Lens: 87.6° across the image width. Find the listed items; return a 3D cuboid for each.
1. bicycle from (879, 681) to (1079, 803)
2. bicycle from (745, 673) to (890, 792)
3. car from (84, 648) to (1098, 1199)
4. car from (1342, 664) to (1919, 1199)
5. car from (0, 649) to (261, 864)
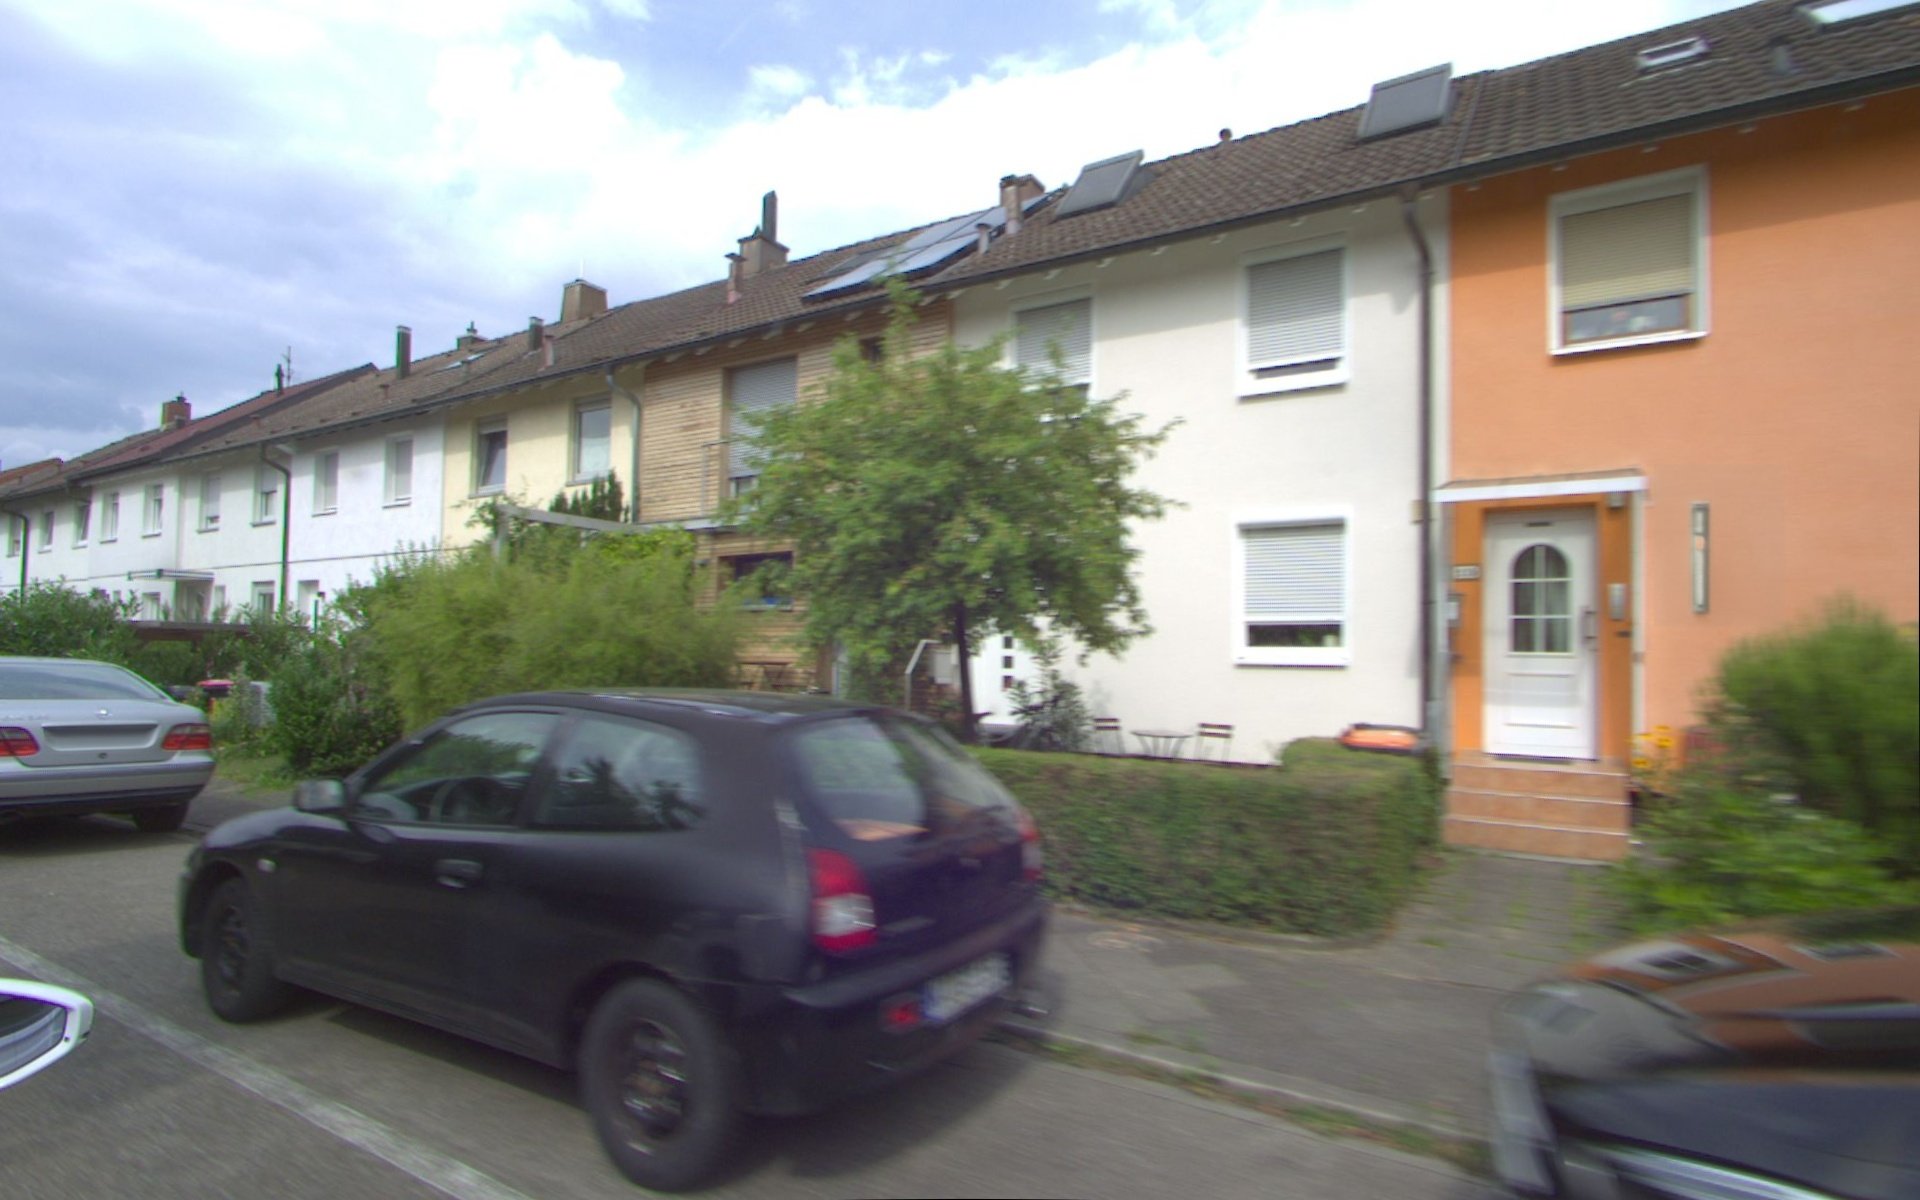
[{"bbox_3d":[0.186,1.263,9.140,1.720,0.994,0.661,0,-2,13],"label":"bicycle"},{"bbox_3d":[-1.329,1.222,9.585,0.371,1.035,1.534,0,-3,37],"label":"bicycle"},{"bbox_3d":[-1.654,0.964,4.142,4.064,1.445,1.732,-1,-4,30],"label":"car"},{"bbox_3d":[2.950,0.856,0.987,4.581,1.485,1.747,-1,-4,32],"label":"car"},{"bbox_3d":[-8.135,1.127,8.403,4.697,1.424,1.867,-1,-5,30],"label":"car"}]
